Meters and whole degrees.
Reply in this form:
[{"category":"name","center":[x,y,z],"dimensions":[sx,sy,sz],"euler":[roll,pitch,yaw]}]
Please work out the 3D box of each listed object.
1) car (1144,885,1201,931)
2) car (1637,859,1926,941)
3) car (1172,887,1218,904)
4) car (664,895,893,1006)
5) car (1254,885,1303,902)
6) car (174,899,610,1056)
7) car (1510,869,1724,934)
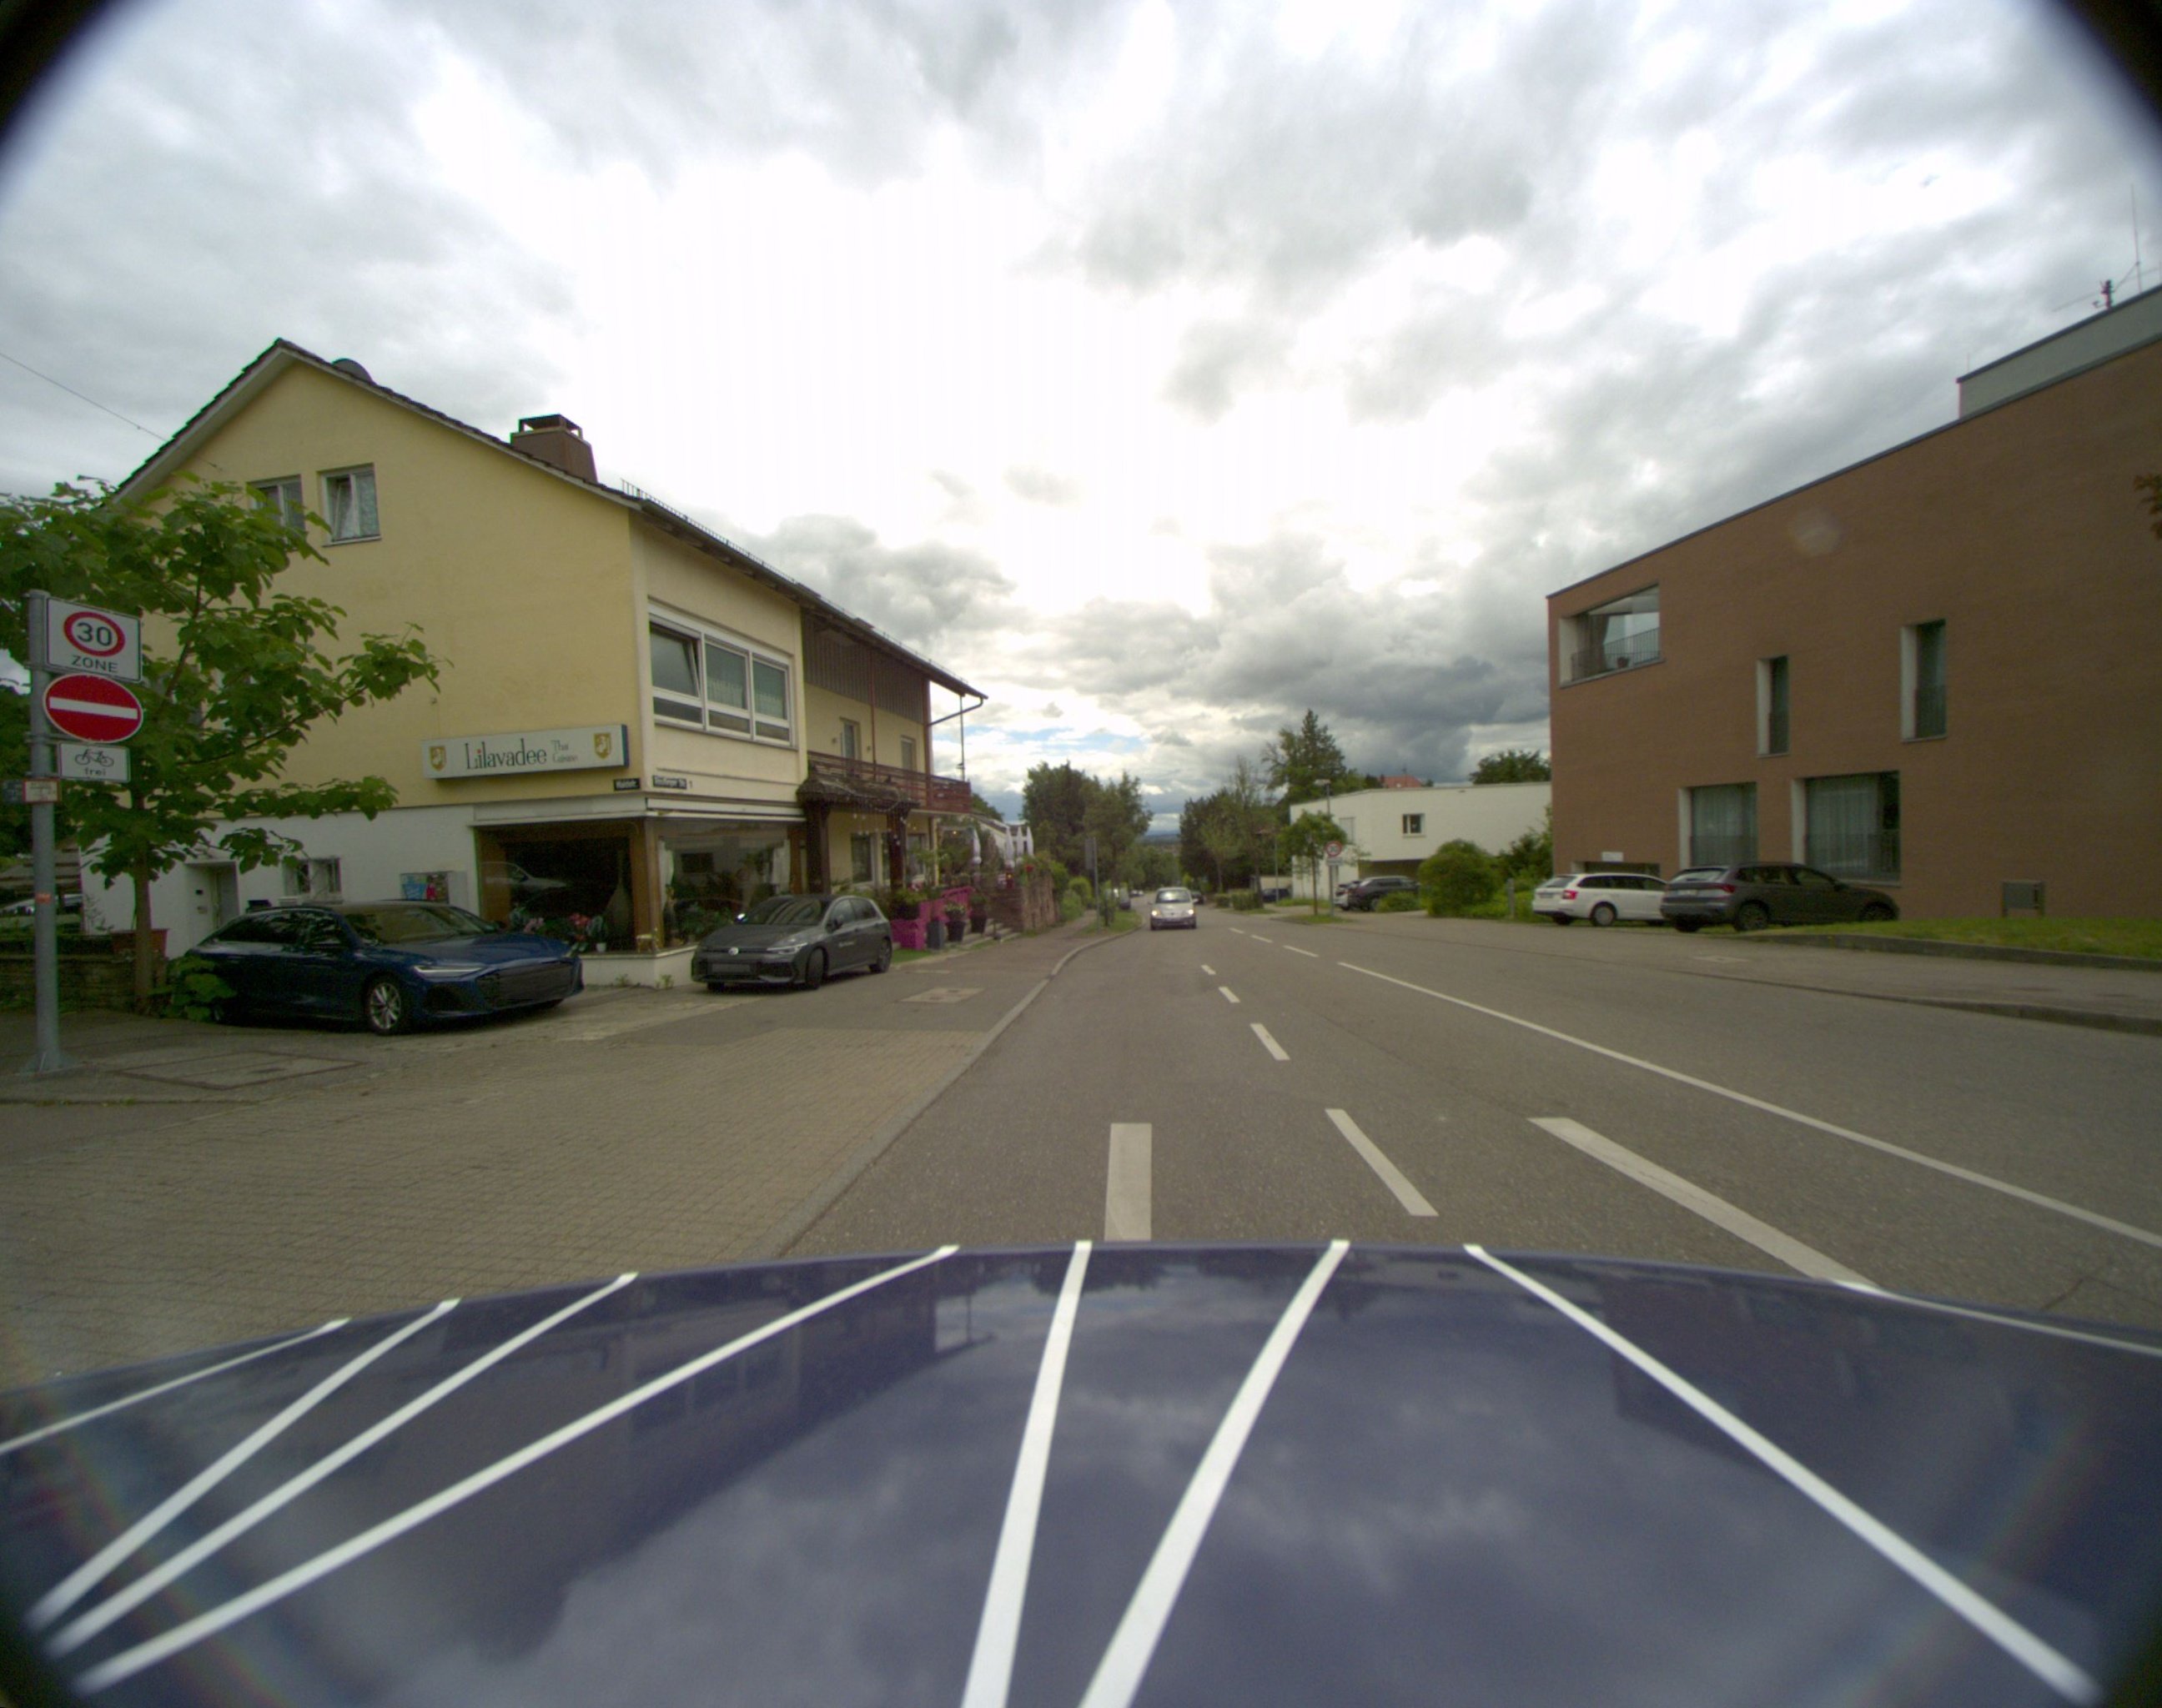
[{"category":"car","center":[3.583,2.089,29.722],"dimensions":[1.997,1.585,4.004],"euler":[-3,-3,7]},{"category":"car","center":[14.976,0.945,16.447],"dimensions":[4.434,1.548,2.000],"euler":[-1,-1,-1]},{"category":"car","center":[11.717,4.288,78.316],"dimensions":[4.434,1.548,2.000],"euler":[-2,-1,-1]},{"category":"car","center":[-4.702,1.452,12.484],"dimensions":[1.873,1.483,3.887],"euler":[-2,-3,6]},{"category":"car","center":[20.044,4.039,77.172],"dimensions":[4.434,1.548,2.000],"euler":[-1,-1,-1]},{"category":"car","center":[-8.200,1.363,9.161],"dimensions":[4.220,1.519,1.935],"euler":[-2,-2,16]},{"category":"car","center":[14.494,1.253,20.731],"dimensions":[4.434,1.548,2.000],"euler":[-1,-1,-1]}]
